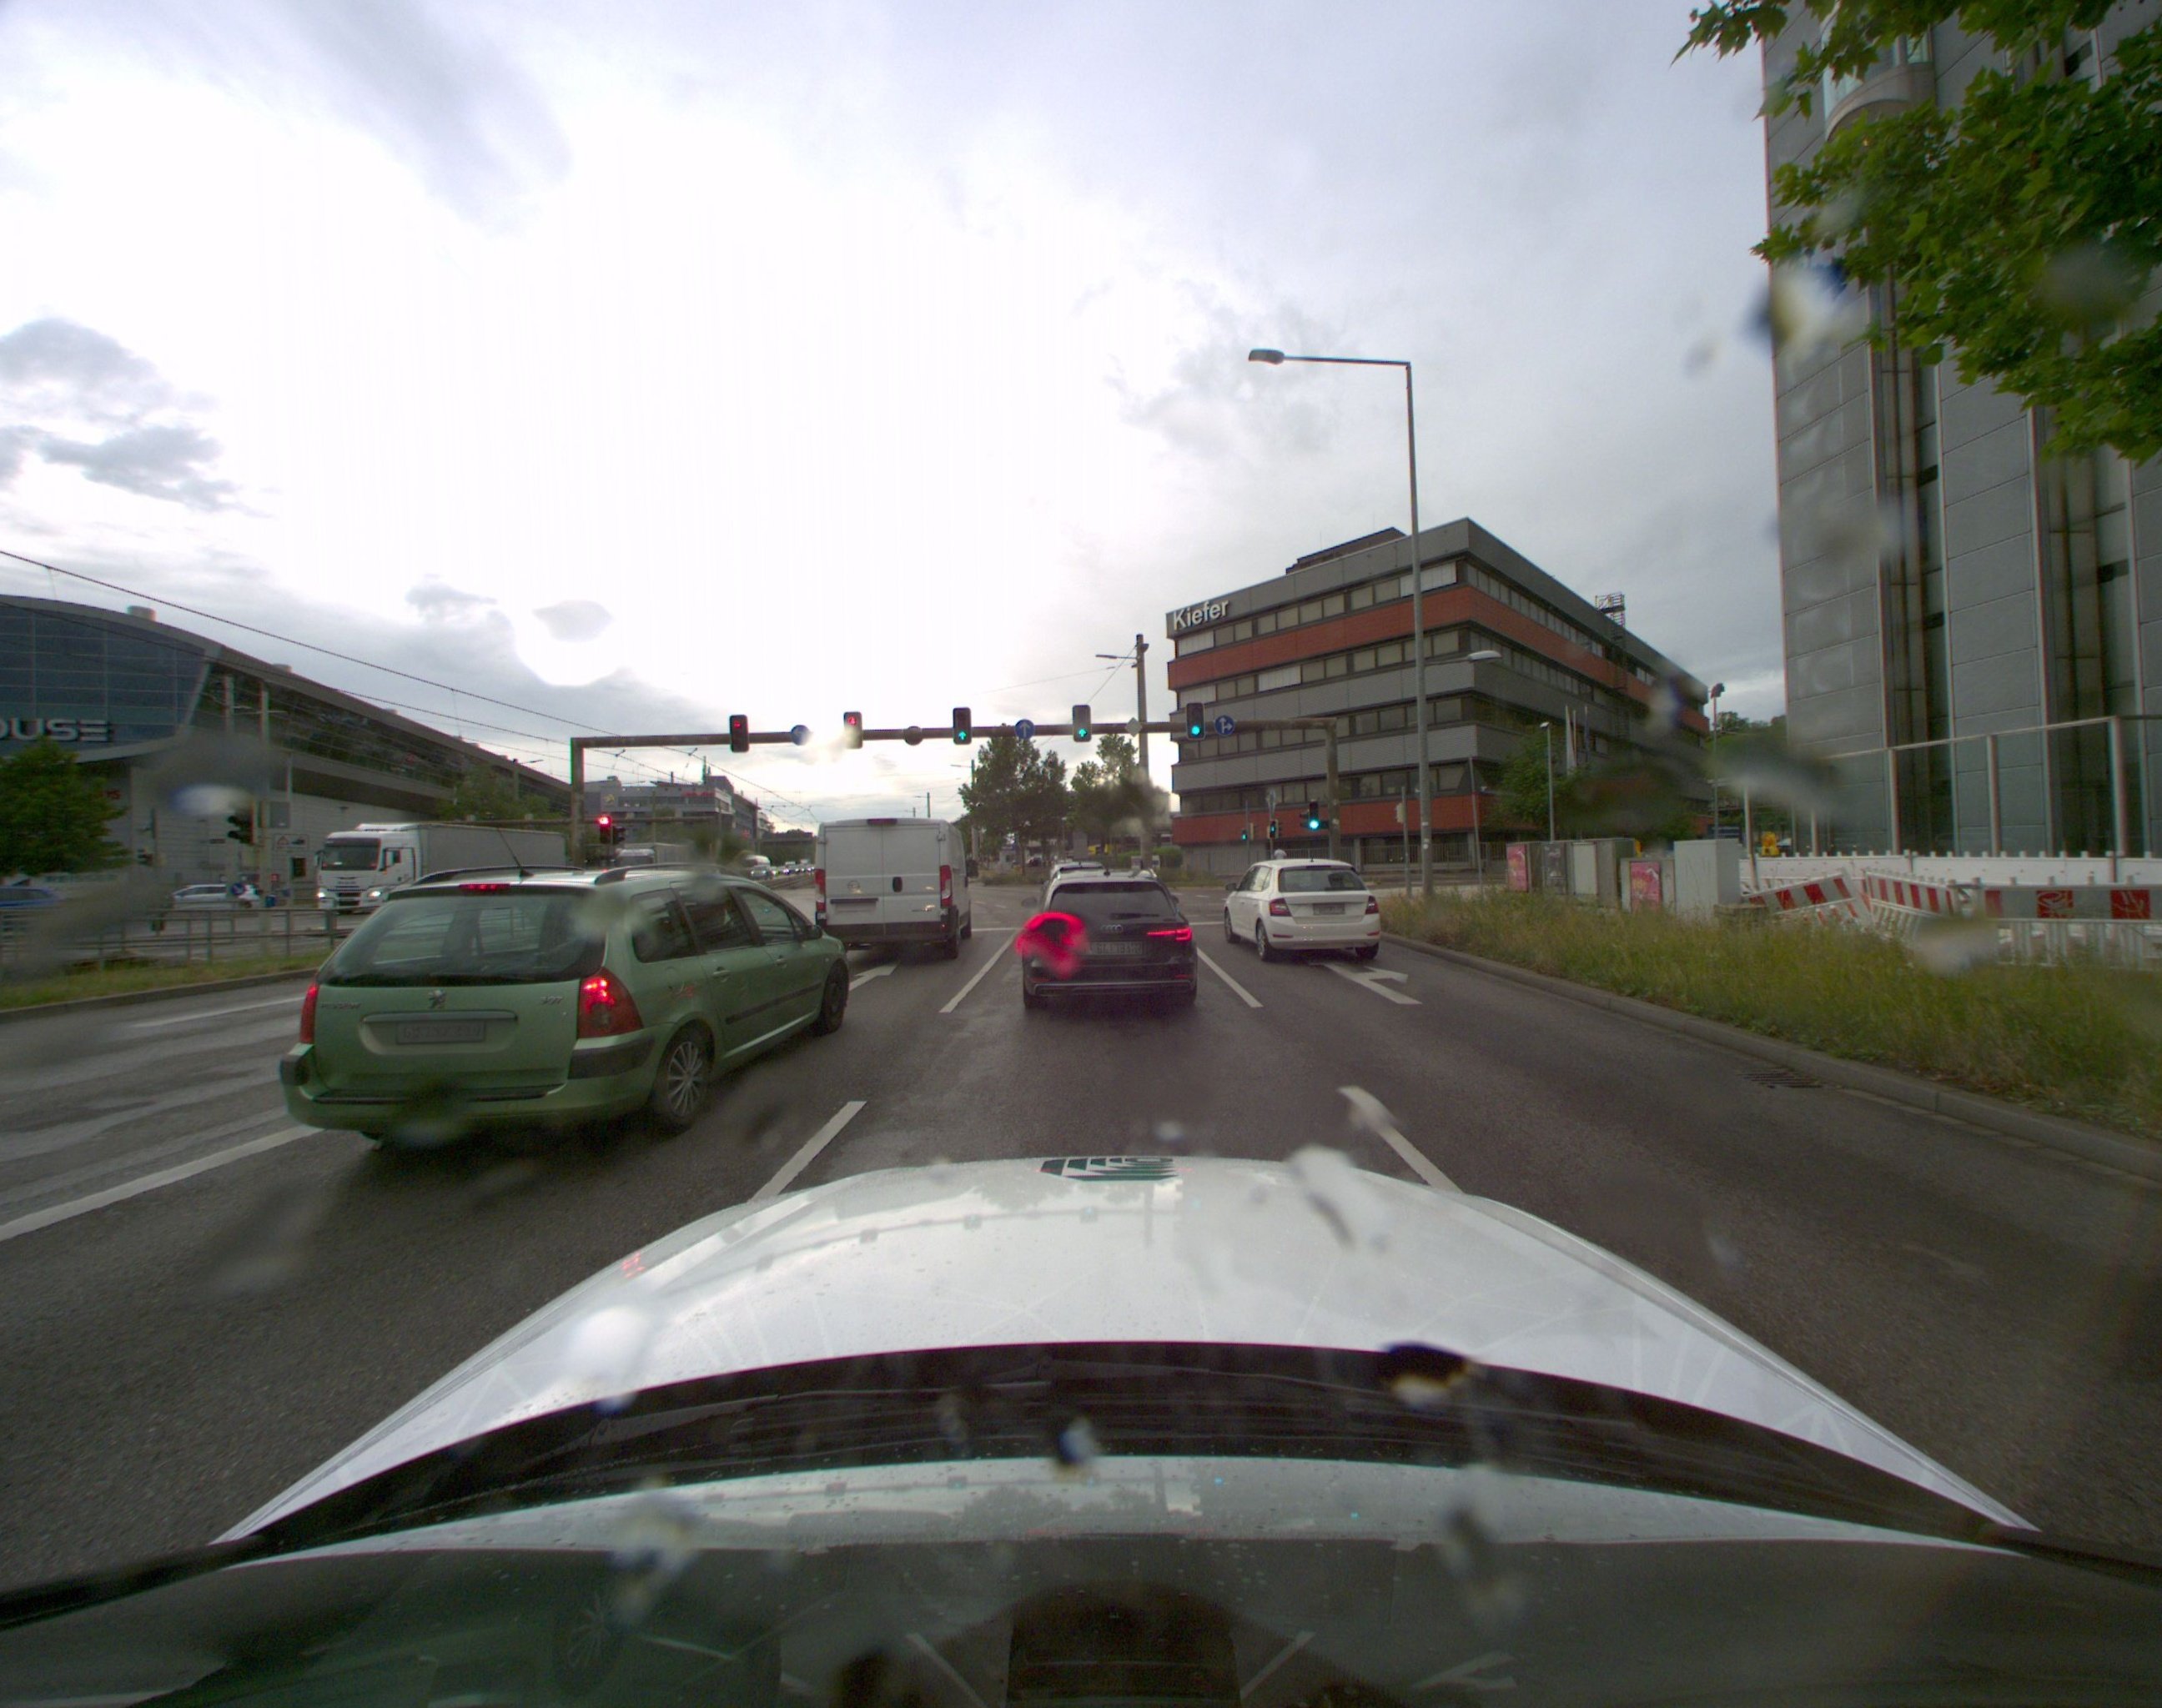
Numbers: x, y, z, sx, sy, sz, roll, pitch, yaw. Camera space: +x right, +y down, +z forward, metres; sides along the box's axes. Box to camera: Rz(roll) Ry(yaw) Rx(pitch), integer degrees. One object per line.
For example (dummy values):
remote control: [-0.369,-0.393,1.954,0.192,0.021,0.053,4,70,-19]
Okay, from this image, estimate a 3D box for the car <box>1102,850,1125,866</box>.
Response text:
car: [4.455,0.572,112.603,1.876,2.014,3.749,1,-2,-19]

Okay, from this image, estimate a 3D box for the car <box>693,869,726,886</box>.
car: [-36.797,2.314,80.788,1.903,1.555,4.549,1,-1,-10]

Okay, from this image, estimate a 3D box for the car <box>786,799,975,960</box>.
car: [-3.180,0.434,14.174,2.442,2.294,4.895,1,-1,-5]

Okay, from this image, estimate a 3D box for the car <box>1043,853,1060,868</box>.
car: [-3.969,0.893,109.339,1.681,2.014,3.524,1,-2,-14]

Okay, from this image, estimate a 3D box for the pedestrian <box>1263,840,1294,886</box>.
pedestrian: [9.422,0.414,38.837,1.139,2.125,1.223,-3,1,1]

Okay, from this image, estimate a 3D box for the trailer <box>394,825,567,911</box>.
trailer: [-32.711,0.709,45.236,2.795,4.107,11.403,-2,0,-10]

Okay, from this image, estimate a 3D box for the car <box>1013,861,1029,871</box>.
car: [-9.780,1.997,131.982,1.795,1.591,3.978,-2,-1,-16]

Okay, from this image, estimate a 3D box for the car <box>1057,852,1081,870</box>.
car: [-1.530,0.899,100.431,1.997,2.032,3.979,-2,0,-15]

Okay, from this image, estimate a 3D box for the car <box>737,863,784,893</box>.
car: [-23.085,1.695,58.825,1.768,2.014,4.344,1,0,-1]

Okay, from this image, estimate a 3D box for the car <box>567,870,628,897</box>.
car: [-30.084,1.814,50.828,1.887,1.652,4.082,1,-1,-9]

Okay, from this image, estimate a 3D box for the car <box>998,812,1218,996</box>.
car: [0.311,0.512,9.534,1.986,1.637,4.001,-2,-2,2]

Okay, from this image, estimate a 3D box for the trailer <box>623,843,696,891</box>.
trailer: [-39.640,1.295,77.165,2.651,4.125,12.694,-2,-1,-11]

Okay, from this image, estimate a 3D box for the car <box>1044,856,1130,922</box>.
car: [0.052,0.839,20.445,1.890,1.465,3.903,-1,-1,-4]

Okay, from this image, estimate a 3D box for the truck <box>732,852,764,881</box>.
truck: [-45.712,1.738,111.910,2.746,3.805,5.393,-3,-1,-9]

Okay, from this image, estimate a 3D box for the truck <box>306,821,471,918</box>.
truck: [-31.565,0.673,37.489,2.829,3.996,5.973,-2,0,-6]

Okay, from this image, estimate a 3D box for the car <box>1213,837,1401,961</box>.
car: [3.391,0.657,13.052,1.824,1.656,3.997,-1,-1,-1]

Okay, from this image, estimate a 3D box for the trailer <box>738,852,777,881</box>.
trailer: [-46.652,1.834,117.887,2.724,3.854,11.192,-3,-1,-9]

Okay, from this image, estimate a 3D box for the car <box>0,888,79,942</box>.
car: [-34.342,1.899,24.925,1.989,1.628,4.314,1,-1,-3]

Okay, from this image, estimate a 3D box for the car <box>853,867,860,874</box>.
car: [-61.075,4.512,221.495,1.775,2.014,4.327,1,-2,-13]

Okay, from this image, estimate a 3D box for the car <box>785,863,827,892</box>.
car: [-20.475,1.722,60.791,1.768,2.014,4.344,1,0,-1]

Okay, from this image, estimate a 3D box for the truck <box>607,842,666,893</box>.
truck: [-38.309,1.166,70.426,2.668,4.130,6.161,-2,-1,-11]

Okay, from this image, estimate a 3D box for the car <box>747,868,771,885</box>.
car: [-41.699,2.897,105.458,1.995,1.837,4.888,2,0,-12]

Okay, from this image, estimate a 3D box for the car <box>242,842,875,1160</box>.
car: [-3.006,0.734,6.019,1.688,1.468,4.404,0,-1,2]
